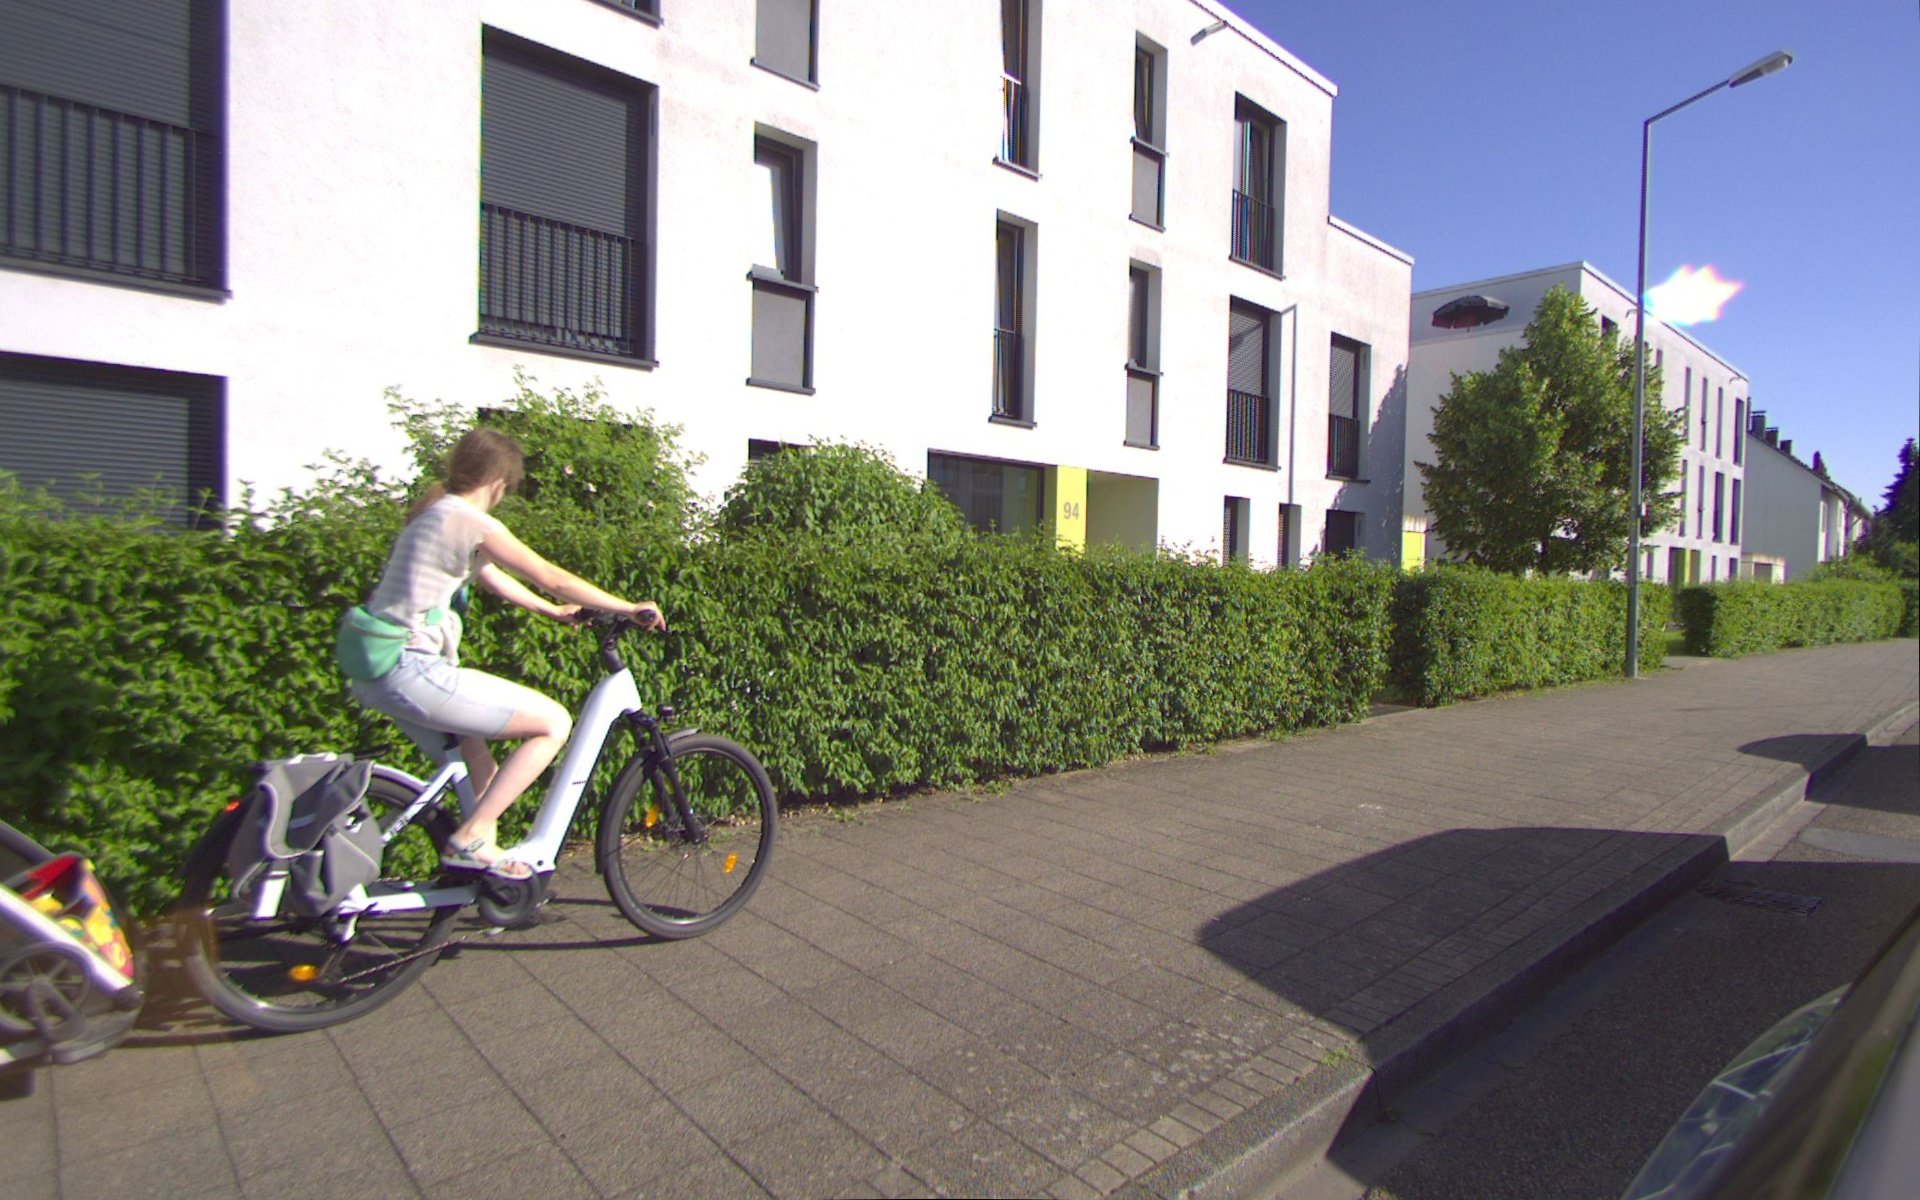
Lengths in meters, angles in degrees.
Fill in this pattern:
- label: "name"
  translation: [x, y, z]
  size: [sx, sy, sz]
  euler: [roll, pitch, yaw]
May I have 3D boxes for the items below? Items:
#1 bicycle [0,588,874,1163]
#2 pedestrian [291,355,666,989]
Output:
- label: "bicycle"
  translation: [-1.765, 0.575, 3.006]
  size: [3.072, 1.187, 0.930]
  euler: [-1, 3, -42]
- label: "pedestrian"
  translation: [-1.533, 0.165, 3.192]
  size: [0.840, 1.613, 0.912]
  euler: [0, 2, -42]
